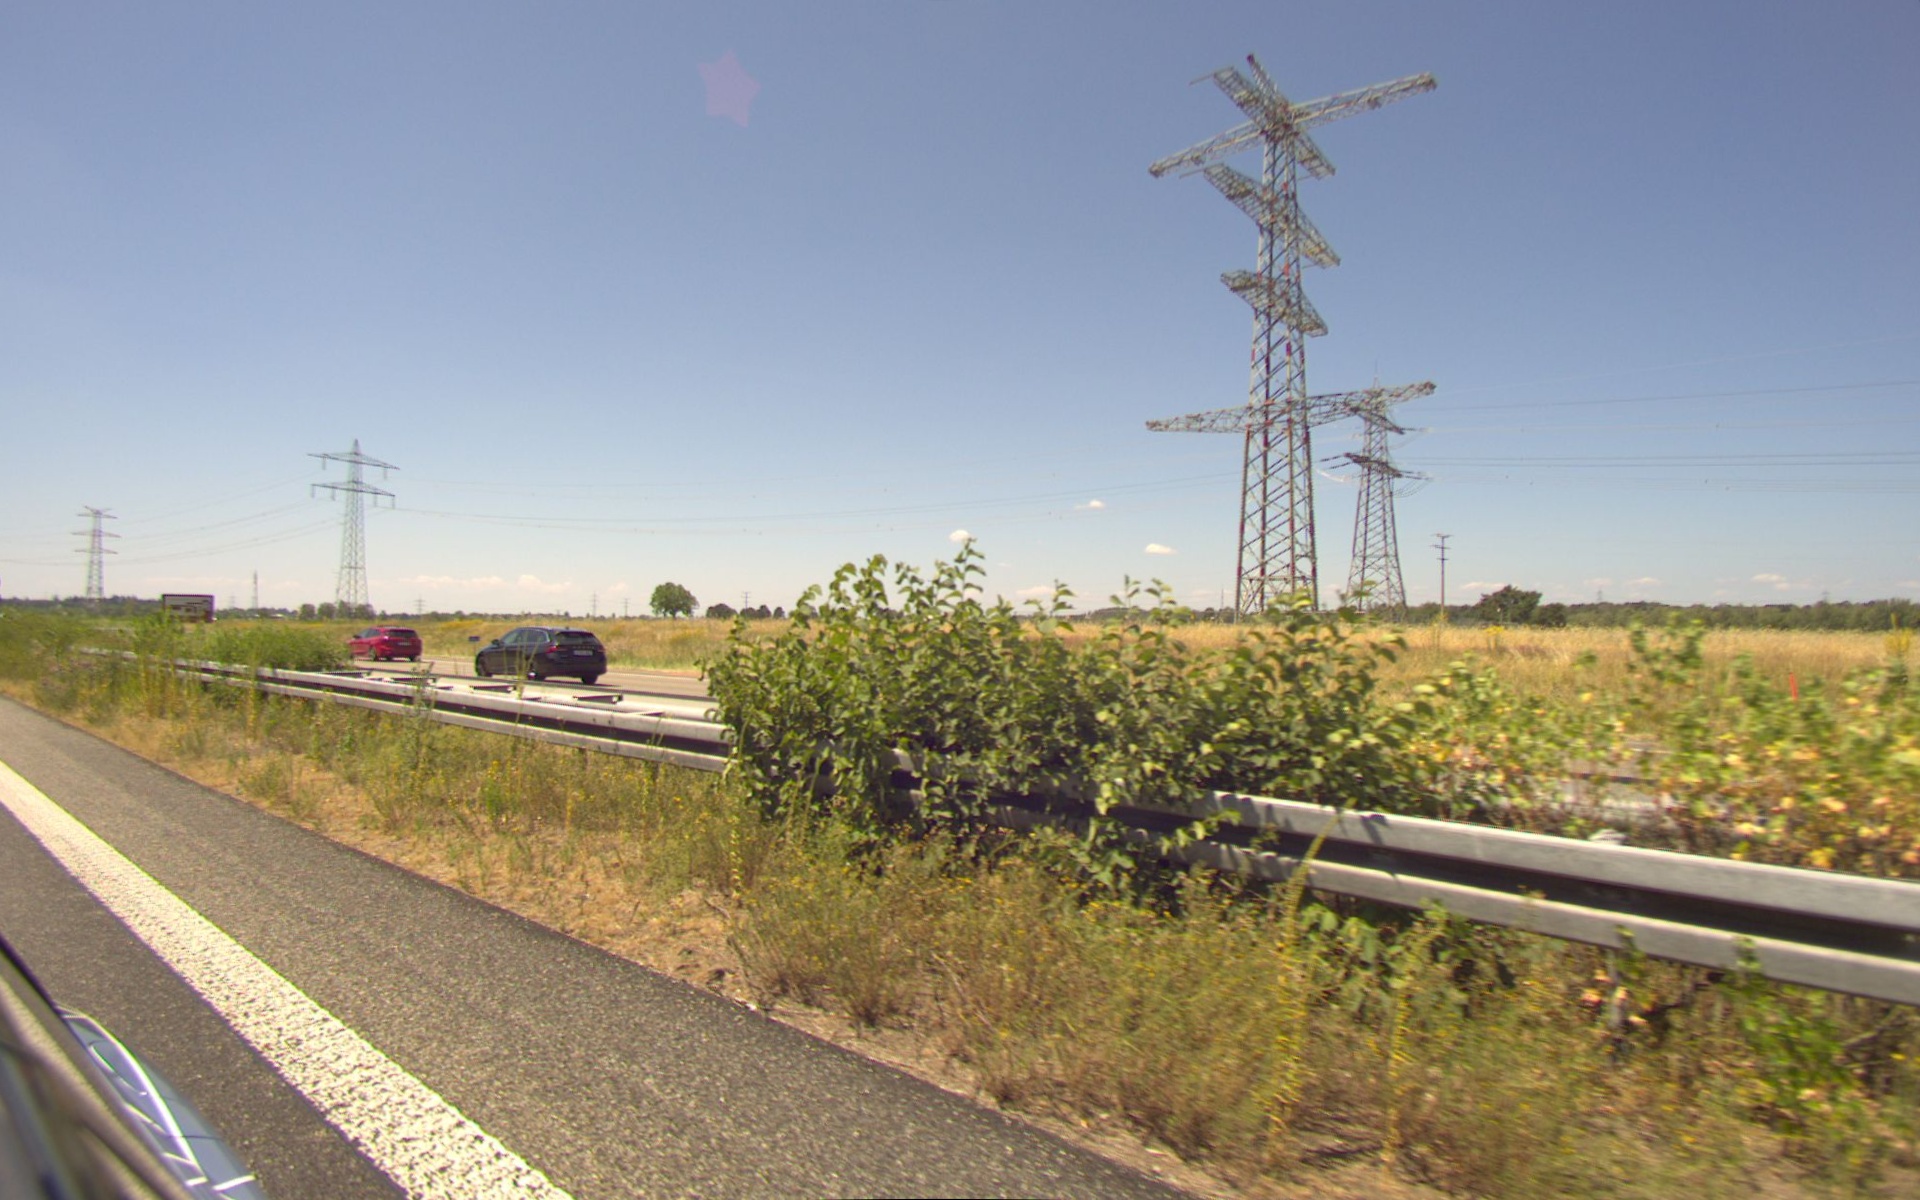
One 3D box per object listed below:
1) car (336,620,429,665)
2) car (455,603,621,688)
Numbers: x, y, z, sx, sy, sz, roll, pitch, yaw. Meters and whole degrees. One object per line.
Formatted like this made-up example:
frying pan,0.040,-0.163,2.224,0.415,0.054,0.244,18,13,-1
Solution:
car,-24.505,1.743,42.865,4.977,1.793,1.898,0,-1,41
car,-11.050,1.152,26.336,4.839,2.029,1.973,0,-4,41
